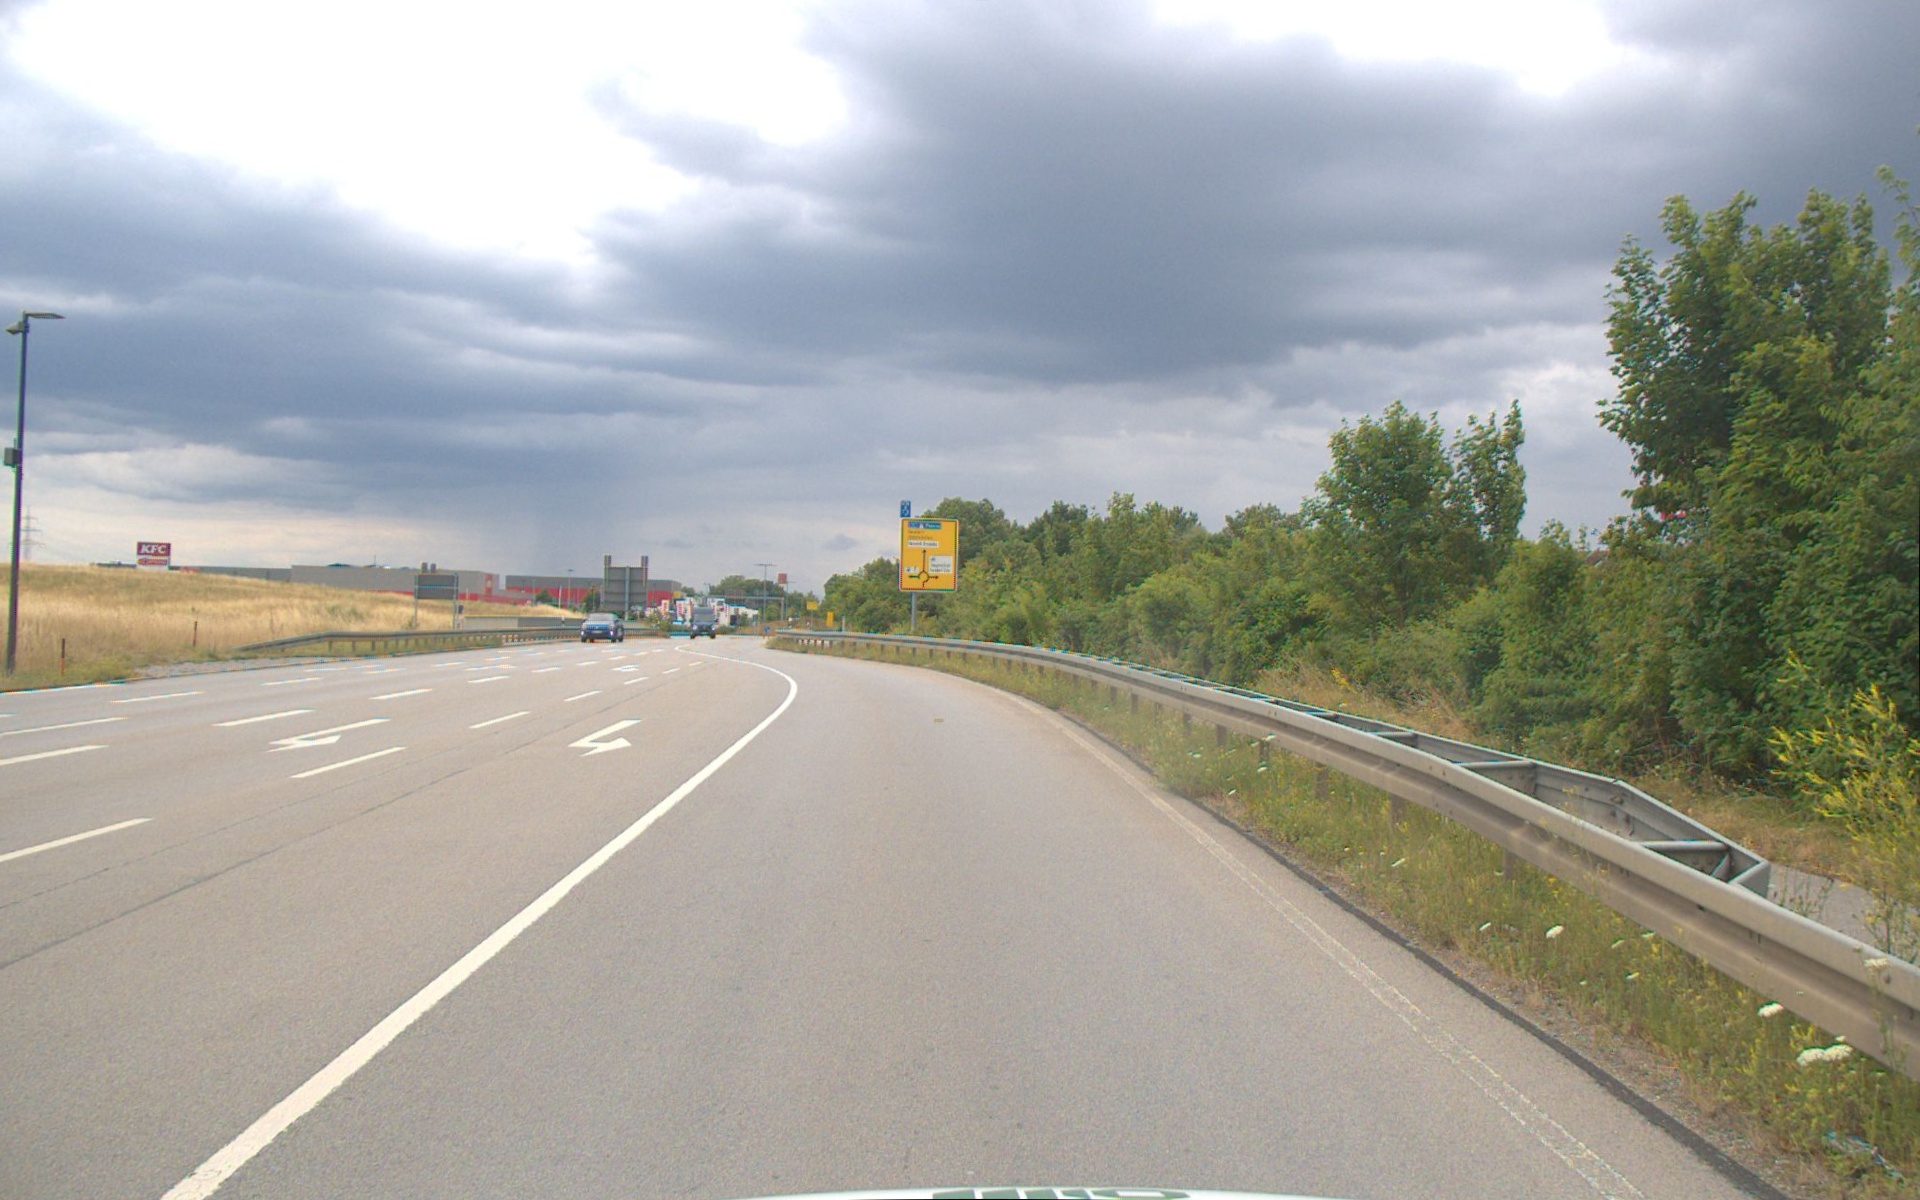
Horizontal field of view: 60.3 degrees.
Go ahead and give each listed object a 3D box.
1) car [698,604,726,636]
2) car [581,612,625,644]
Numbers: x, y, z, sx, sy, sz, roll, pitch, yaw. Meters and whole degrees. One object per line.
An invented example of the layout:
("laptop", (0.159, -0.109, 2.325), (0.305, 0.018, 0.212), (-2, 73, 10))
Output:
("car", (-20.846, 1.667, 138.936), (1.955, 2.638, 5.997), (1, -1, -5))
("car", (-18.547, 1.451, 86.028), (1.763, 1.578, 3.995), (1, -1, -5))
